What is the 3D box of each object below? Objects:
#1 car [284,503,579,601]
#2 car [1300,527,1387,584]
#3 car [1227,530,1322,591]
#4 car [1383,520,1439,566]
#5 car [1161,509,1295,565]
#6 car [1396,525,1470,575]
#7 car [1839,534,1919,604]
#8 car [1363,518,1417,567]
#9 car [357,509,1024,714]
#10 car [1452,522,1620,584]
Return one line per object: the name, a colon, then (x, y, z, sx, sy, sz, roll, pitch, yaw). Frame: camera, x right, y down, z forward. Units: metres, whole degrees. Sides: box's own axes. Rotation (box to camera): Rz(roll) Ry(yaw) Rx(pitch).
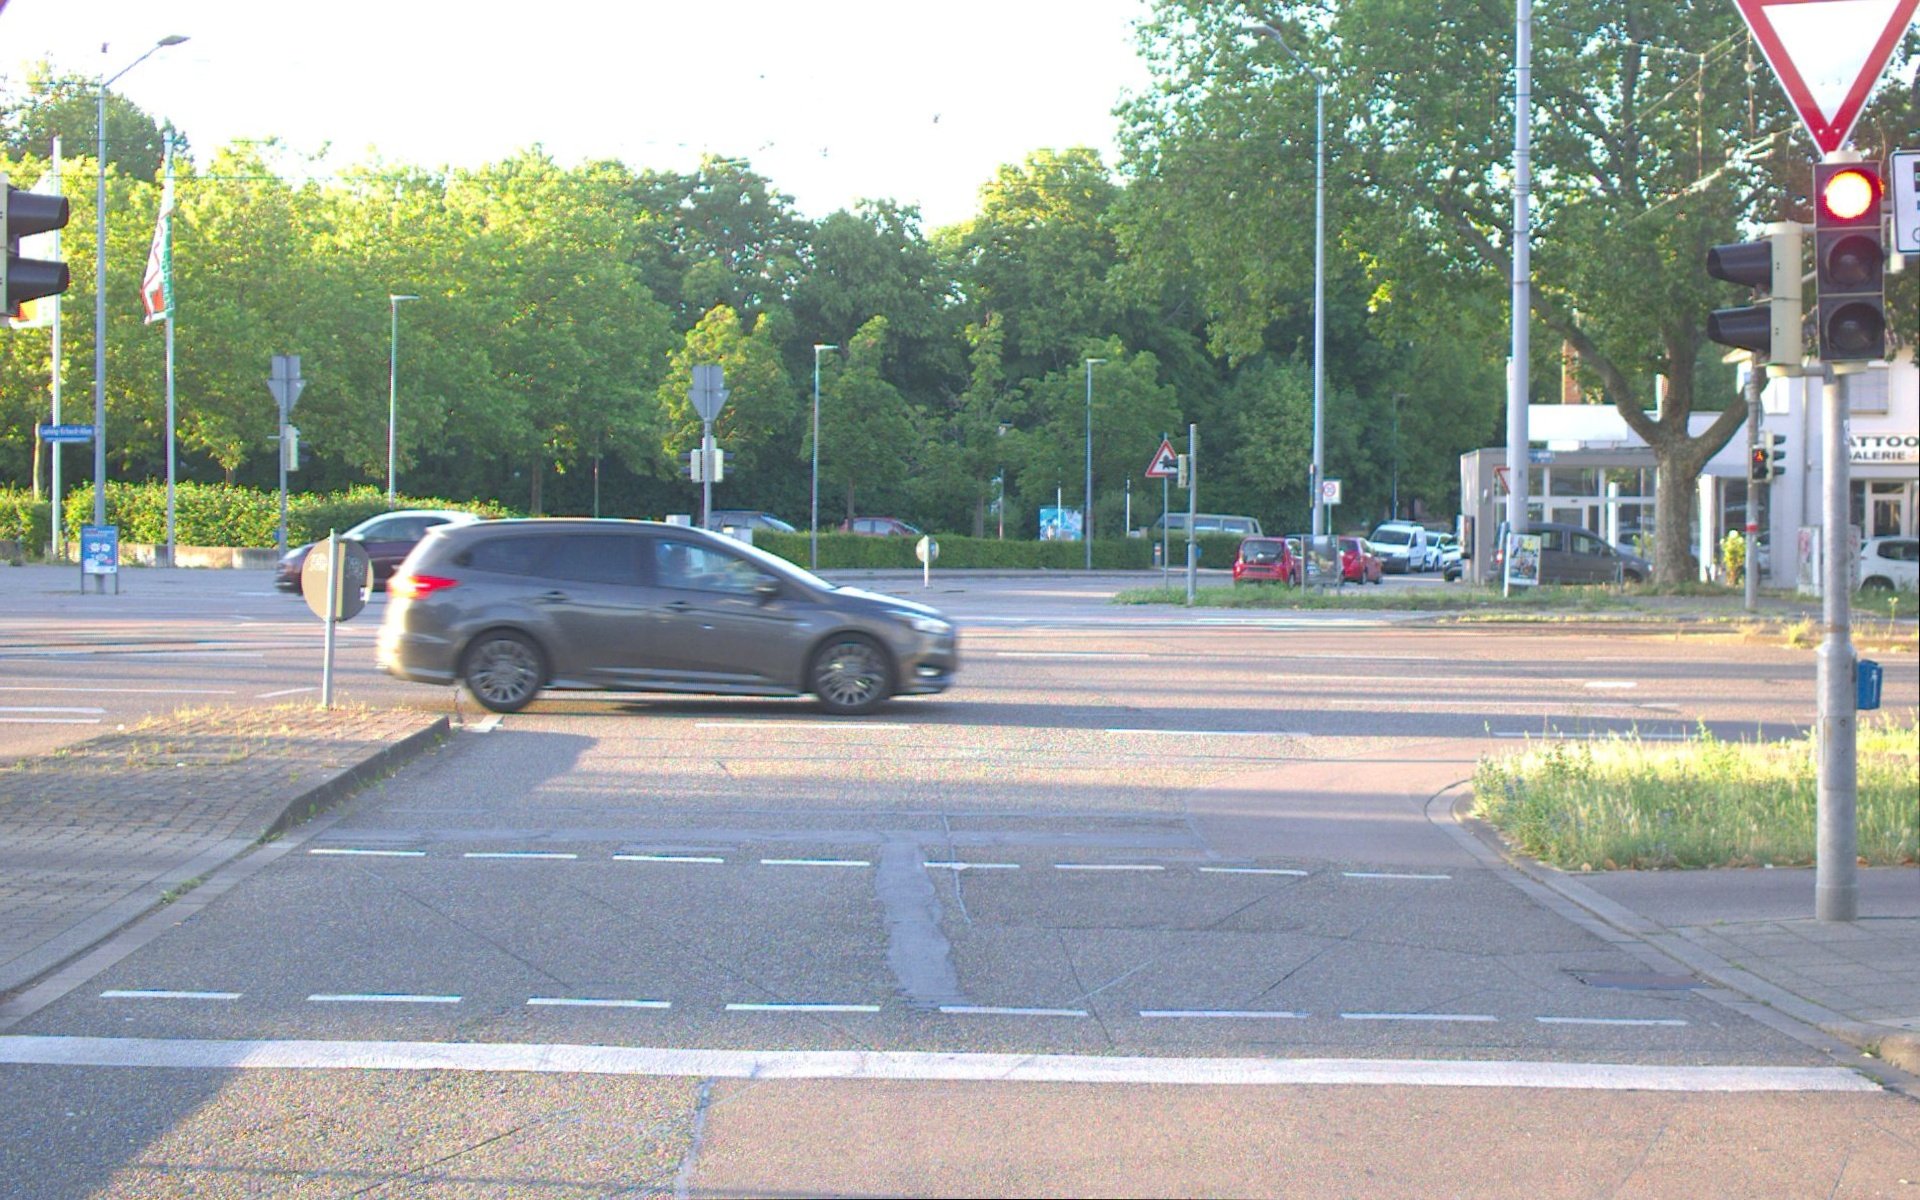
car: (-8.307, -0.752, 54.275, 4.331, 1.491, 1.804, 0, 0, 1)
car: (11.553, -1.330, 103.367, 1.995, 1.656, 3.997, 1, 0, 15)
car: (8.773, -1.092, 95.680, 1.995, 1.656, 3.997, 1, 0, 15)
car: (17.879, -2.243, 136.077, 1.864, 1.788, 3.998, 1, 0, 12)
car: (9.779, -2.310, 125.868, 4.774, 1.999, 2.000, 0, 0, 2)
car: (15.919, -1.668, 115.591, 1.995, 1.656, 3.997, 1, 0, 15)
car: (20.467, -0.636, 72.232, 3.741, 1.435, 1.663, 1, 0, 9)
car: (16.424, -2.181, 131.182, 1.864, 1.788, 3.998, 1, 0, 10)
car: (-2.086, 0.069, 26.928, 5.007, 1.506, 1.988, 0, 1, -4)
car: (14.909, -1.209, 89.161, 4.220, 1.547, 1.999, 1, 0, 7)
